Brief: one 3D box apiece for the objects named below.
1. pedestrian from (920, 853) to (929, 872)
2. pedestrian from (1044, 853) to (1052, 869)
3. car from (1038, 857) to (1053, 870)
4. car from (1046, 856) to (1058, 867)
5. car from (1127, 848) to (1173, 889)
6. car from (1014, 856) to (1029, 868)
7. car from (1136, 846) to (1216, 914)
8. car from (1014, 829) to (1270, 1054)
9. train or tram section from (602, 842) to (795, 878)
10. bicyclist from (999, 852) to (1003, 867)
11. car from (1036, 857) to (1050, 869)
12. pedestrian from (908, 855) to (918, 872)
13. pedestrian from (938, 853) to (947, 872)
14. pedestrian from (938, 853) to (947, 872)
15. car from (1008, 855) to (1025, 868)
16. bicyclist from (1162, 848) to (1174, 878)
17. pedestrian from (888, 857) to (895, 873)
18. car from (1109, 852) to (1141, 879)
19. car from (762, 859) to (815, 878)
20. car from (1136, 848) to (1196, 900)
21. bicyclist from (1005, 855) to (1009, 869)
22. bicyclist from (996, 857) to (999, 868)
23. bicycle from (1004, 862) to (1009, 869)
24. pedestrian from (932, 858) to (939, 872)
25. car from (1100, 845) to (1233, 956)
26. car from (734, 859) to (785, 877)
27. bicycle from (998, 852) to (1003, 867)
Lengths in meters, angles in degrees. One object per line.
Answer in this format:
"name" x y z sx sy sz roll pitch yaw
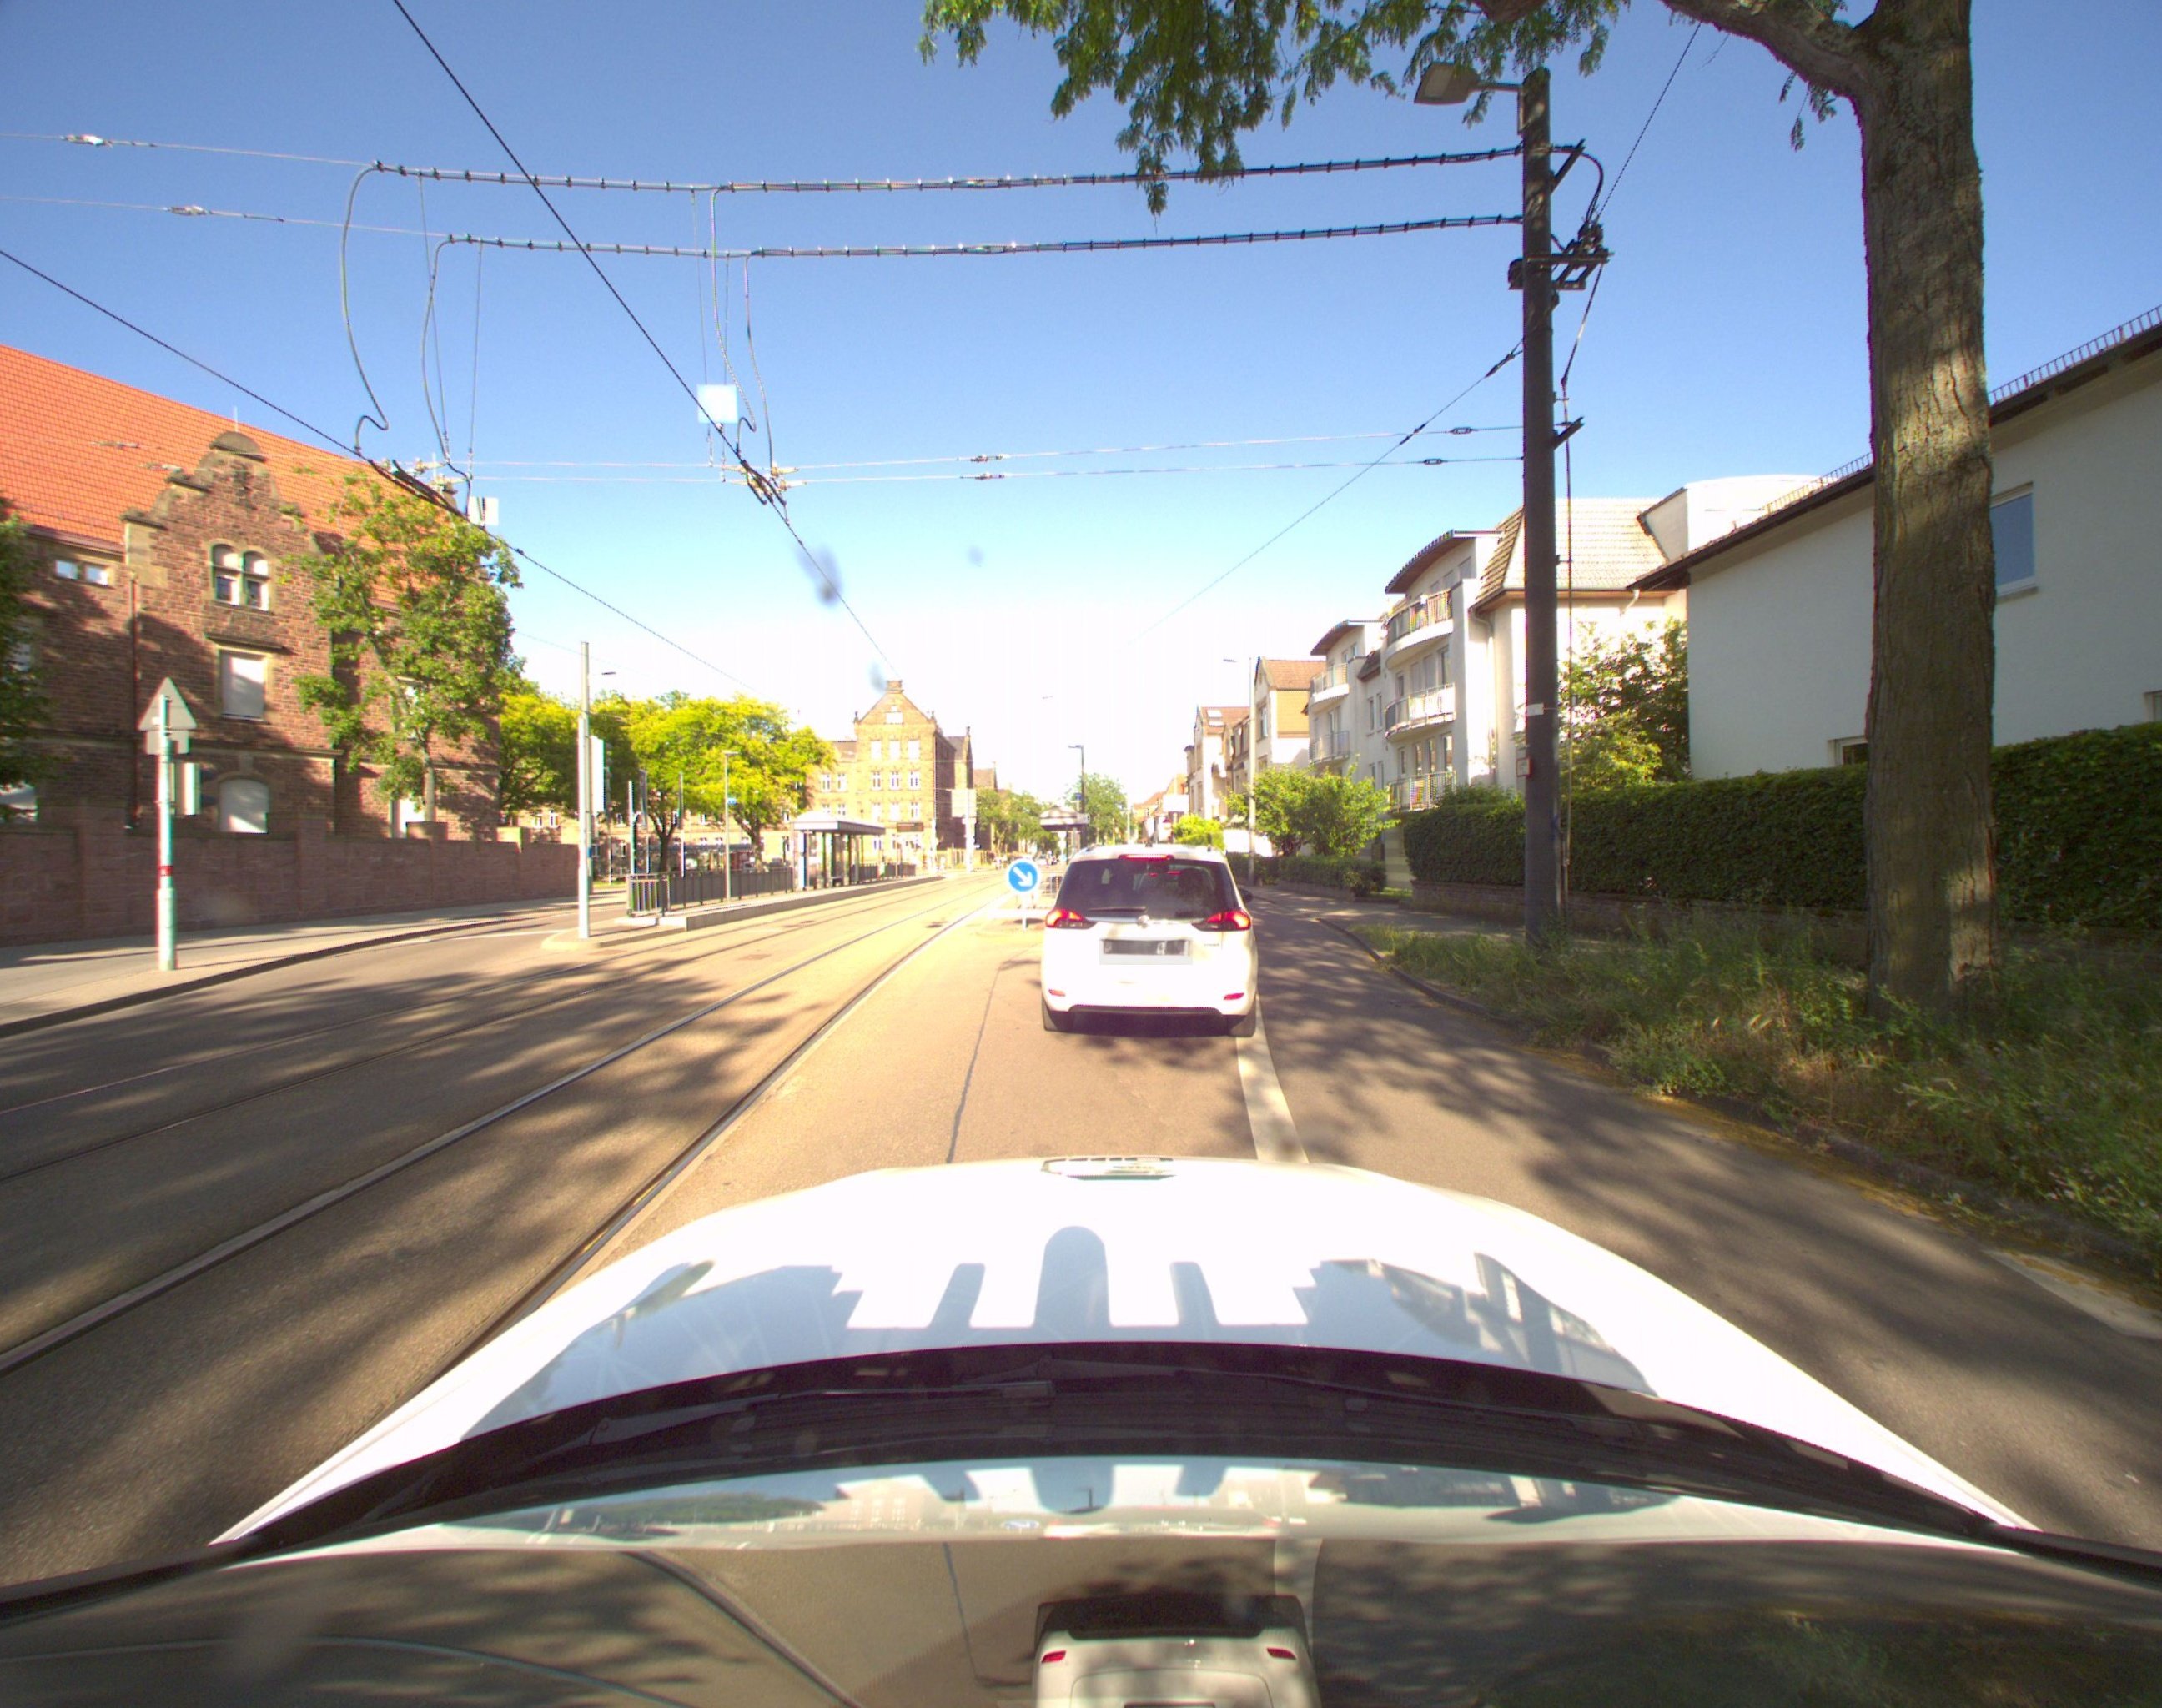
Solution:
"pedestrian" -17.057 0.937 88.940 0.800 2.014 0.713 0 -1 -32
"pedestrian" -3.972 0.819 98.820 0.744 1.901 0.805 0 -1 -20
"car" -4.702 1.251 107.662 1.740 1.716 4.001 0 -1 2
"car" -4.595 1.176 129.387 1.740 1.716 4.001 0 -1 2
"car" 2.997 0.613 36.179 1.899 1.661 4.003 -1 0 3
"car" -8.324 1.111 114.110 1.740 1.716 4.001 0 -1 2
"car" 2.620 0.634 21.678 1.896 1.624 4.010 -1 0 9
"car" 0.758 0.661 8.128 1.896 1.661 4.010 -1 0 9
"train or tram section" -37.839 0.575 81.139 17.346 3.154 3.344 -1 -1 -3
"bicyclist" -10.770 0.718 109.328 0.496 2.013 0.572 -1 0 1
"car" -5.364 1.282 115.541 1.740 1.716 4.001 0 -1 2
"pedestrian" -18.447 1.032 89.637 0.802 1.901 0.747 -1 -1 16
"pedestrian" -14.547 0.864 85.506 0.796 2.014 0.717 0 -1 -15
"pedestrian" -15.283 0.932 89.843 0.799 2.014 0.714 0 -1 -27
"car" -8.493 1.025 107.442 1.740 1.716 4.001 0 -1 2
"bicyclist" 4.894 0.491 45.774 0.613 1.686 0.780 -1 0 6
"pedestrian" -20.548 1.181 88.361 0.768 1.774 0.717 0 -1 -15
"car" 2.844 0.747 53.171 1.901 1.661 4.000 -1 0 0
"car" -25.442 1.237 70.963 3.976 1.630 1.817 0 -1 -2
"car" 2.976 0.649 28.335 1.897 1.661 4.007 -1 0 6
"bicyclist" -10.201 1.120 112.034 0.486 2.014 0.502 0 -1 1
"bicyclist" -10.659 1.052 103.487 0.312 1.444 0.384 -1 0 1
"bicycle" -10.199 1.546 112.063 0.485 0.971 1.406 0 -1 2
"pedestrian" -17.138 1.253 95.920 0.651 1.612 0.712 0 -1 4
"car" 1.558 0.684 13.857 1.896 1.597 4.010 -1 0 9
"car" -29.649 1.313 75.206 3.976 1.630 1.817 0 -1 -2
"bicycle" -10.767 0.718 109.331 0.485 2.013 1.406 -1 0 2
